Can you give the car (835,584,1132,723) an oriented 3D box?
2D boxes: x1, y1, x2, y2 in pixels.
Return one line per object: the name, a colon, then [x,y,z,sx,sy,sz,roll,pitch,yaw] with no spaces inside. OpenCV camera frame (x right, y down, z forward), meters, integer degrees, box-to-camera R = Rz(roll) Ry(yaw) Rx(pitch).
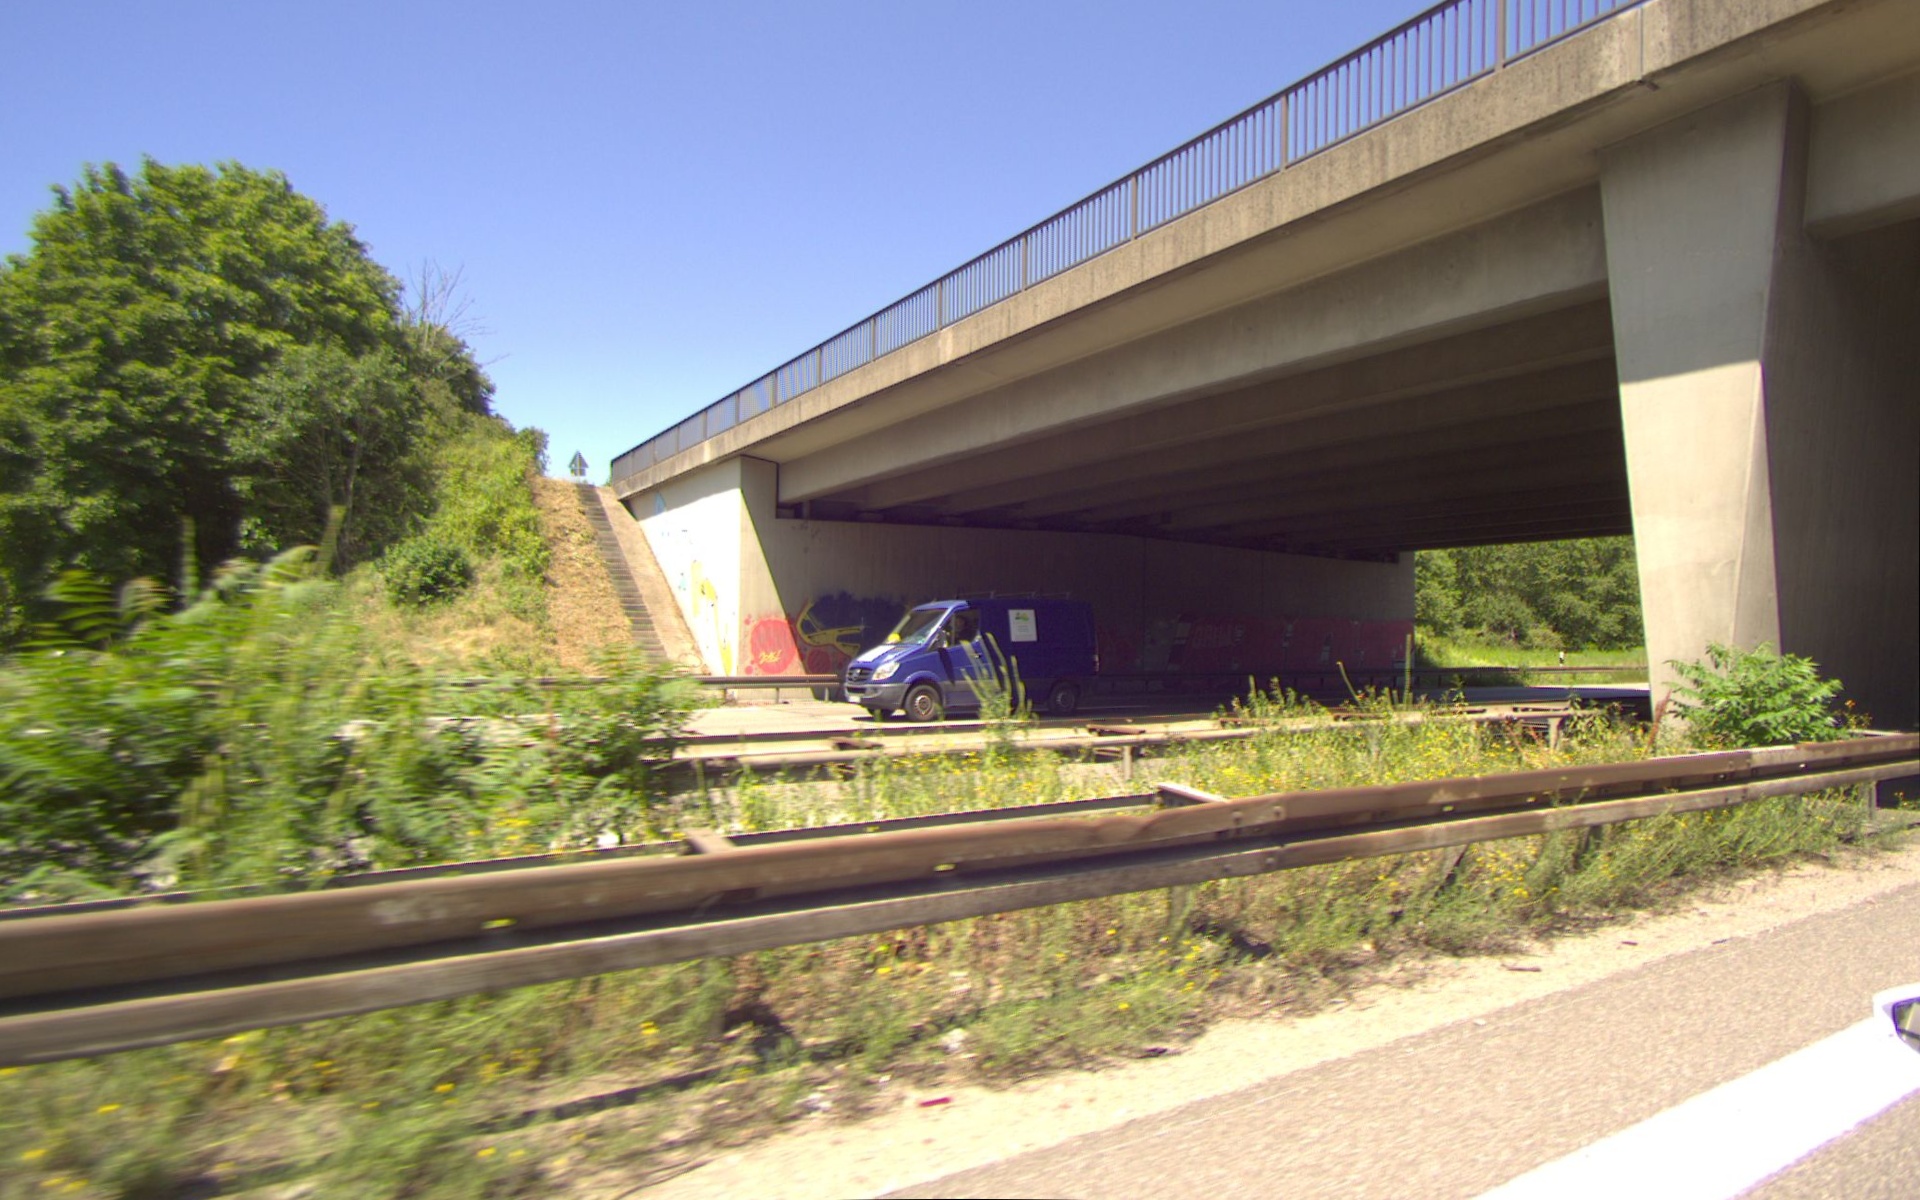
car: [0.561,1.002,19.964,5.670,2.431,2.078,2,0,-32]
